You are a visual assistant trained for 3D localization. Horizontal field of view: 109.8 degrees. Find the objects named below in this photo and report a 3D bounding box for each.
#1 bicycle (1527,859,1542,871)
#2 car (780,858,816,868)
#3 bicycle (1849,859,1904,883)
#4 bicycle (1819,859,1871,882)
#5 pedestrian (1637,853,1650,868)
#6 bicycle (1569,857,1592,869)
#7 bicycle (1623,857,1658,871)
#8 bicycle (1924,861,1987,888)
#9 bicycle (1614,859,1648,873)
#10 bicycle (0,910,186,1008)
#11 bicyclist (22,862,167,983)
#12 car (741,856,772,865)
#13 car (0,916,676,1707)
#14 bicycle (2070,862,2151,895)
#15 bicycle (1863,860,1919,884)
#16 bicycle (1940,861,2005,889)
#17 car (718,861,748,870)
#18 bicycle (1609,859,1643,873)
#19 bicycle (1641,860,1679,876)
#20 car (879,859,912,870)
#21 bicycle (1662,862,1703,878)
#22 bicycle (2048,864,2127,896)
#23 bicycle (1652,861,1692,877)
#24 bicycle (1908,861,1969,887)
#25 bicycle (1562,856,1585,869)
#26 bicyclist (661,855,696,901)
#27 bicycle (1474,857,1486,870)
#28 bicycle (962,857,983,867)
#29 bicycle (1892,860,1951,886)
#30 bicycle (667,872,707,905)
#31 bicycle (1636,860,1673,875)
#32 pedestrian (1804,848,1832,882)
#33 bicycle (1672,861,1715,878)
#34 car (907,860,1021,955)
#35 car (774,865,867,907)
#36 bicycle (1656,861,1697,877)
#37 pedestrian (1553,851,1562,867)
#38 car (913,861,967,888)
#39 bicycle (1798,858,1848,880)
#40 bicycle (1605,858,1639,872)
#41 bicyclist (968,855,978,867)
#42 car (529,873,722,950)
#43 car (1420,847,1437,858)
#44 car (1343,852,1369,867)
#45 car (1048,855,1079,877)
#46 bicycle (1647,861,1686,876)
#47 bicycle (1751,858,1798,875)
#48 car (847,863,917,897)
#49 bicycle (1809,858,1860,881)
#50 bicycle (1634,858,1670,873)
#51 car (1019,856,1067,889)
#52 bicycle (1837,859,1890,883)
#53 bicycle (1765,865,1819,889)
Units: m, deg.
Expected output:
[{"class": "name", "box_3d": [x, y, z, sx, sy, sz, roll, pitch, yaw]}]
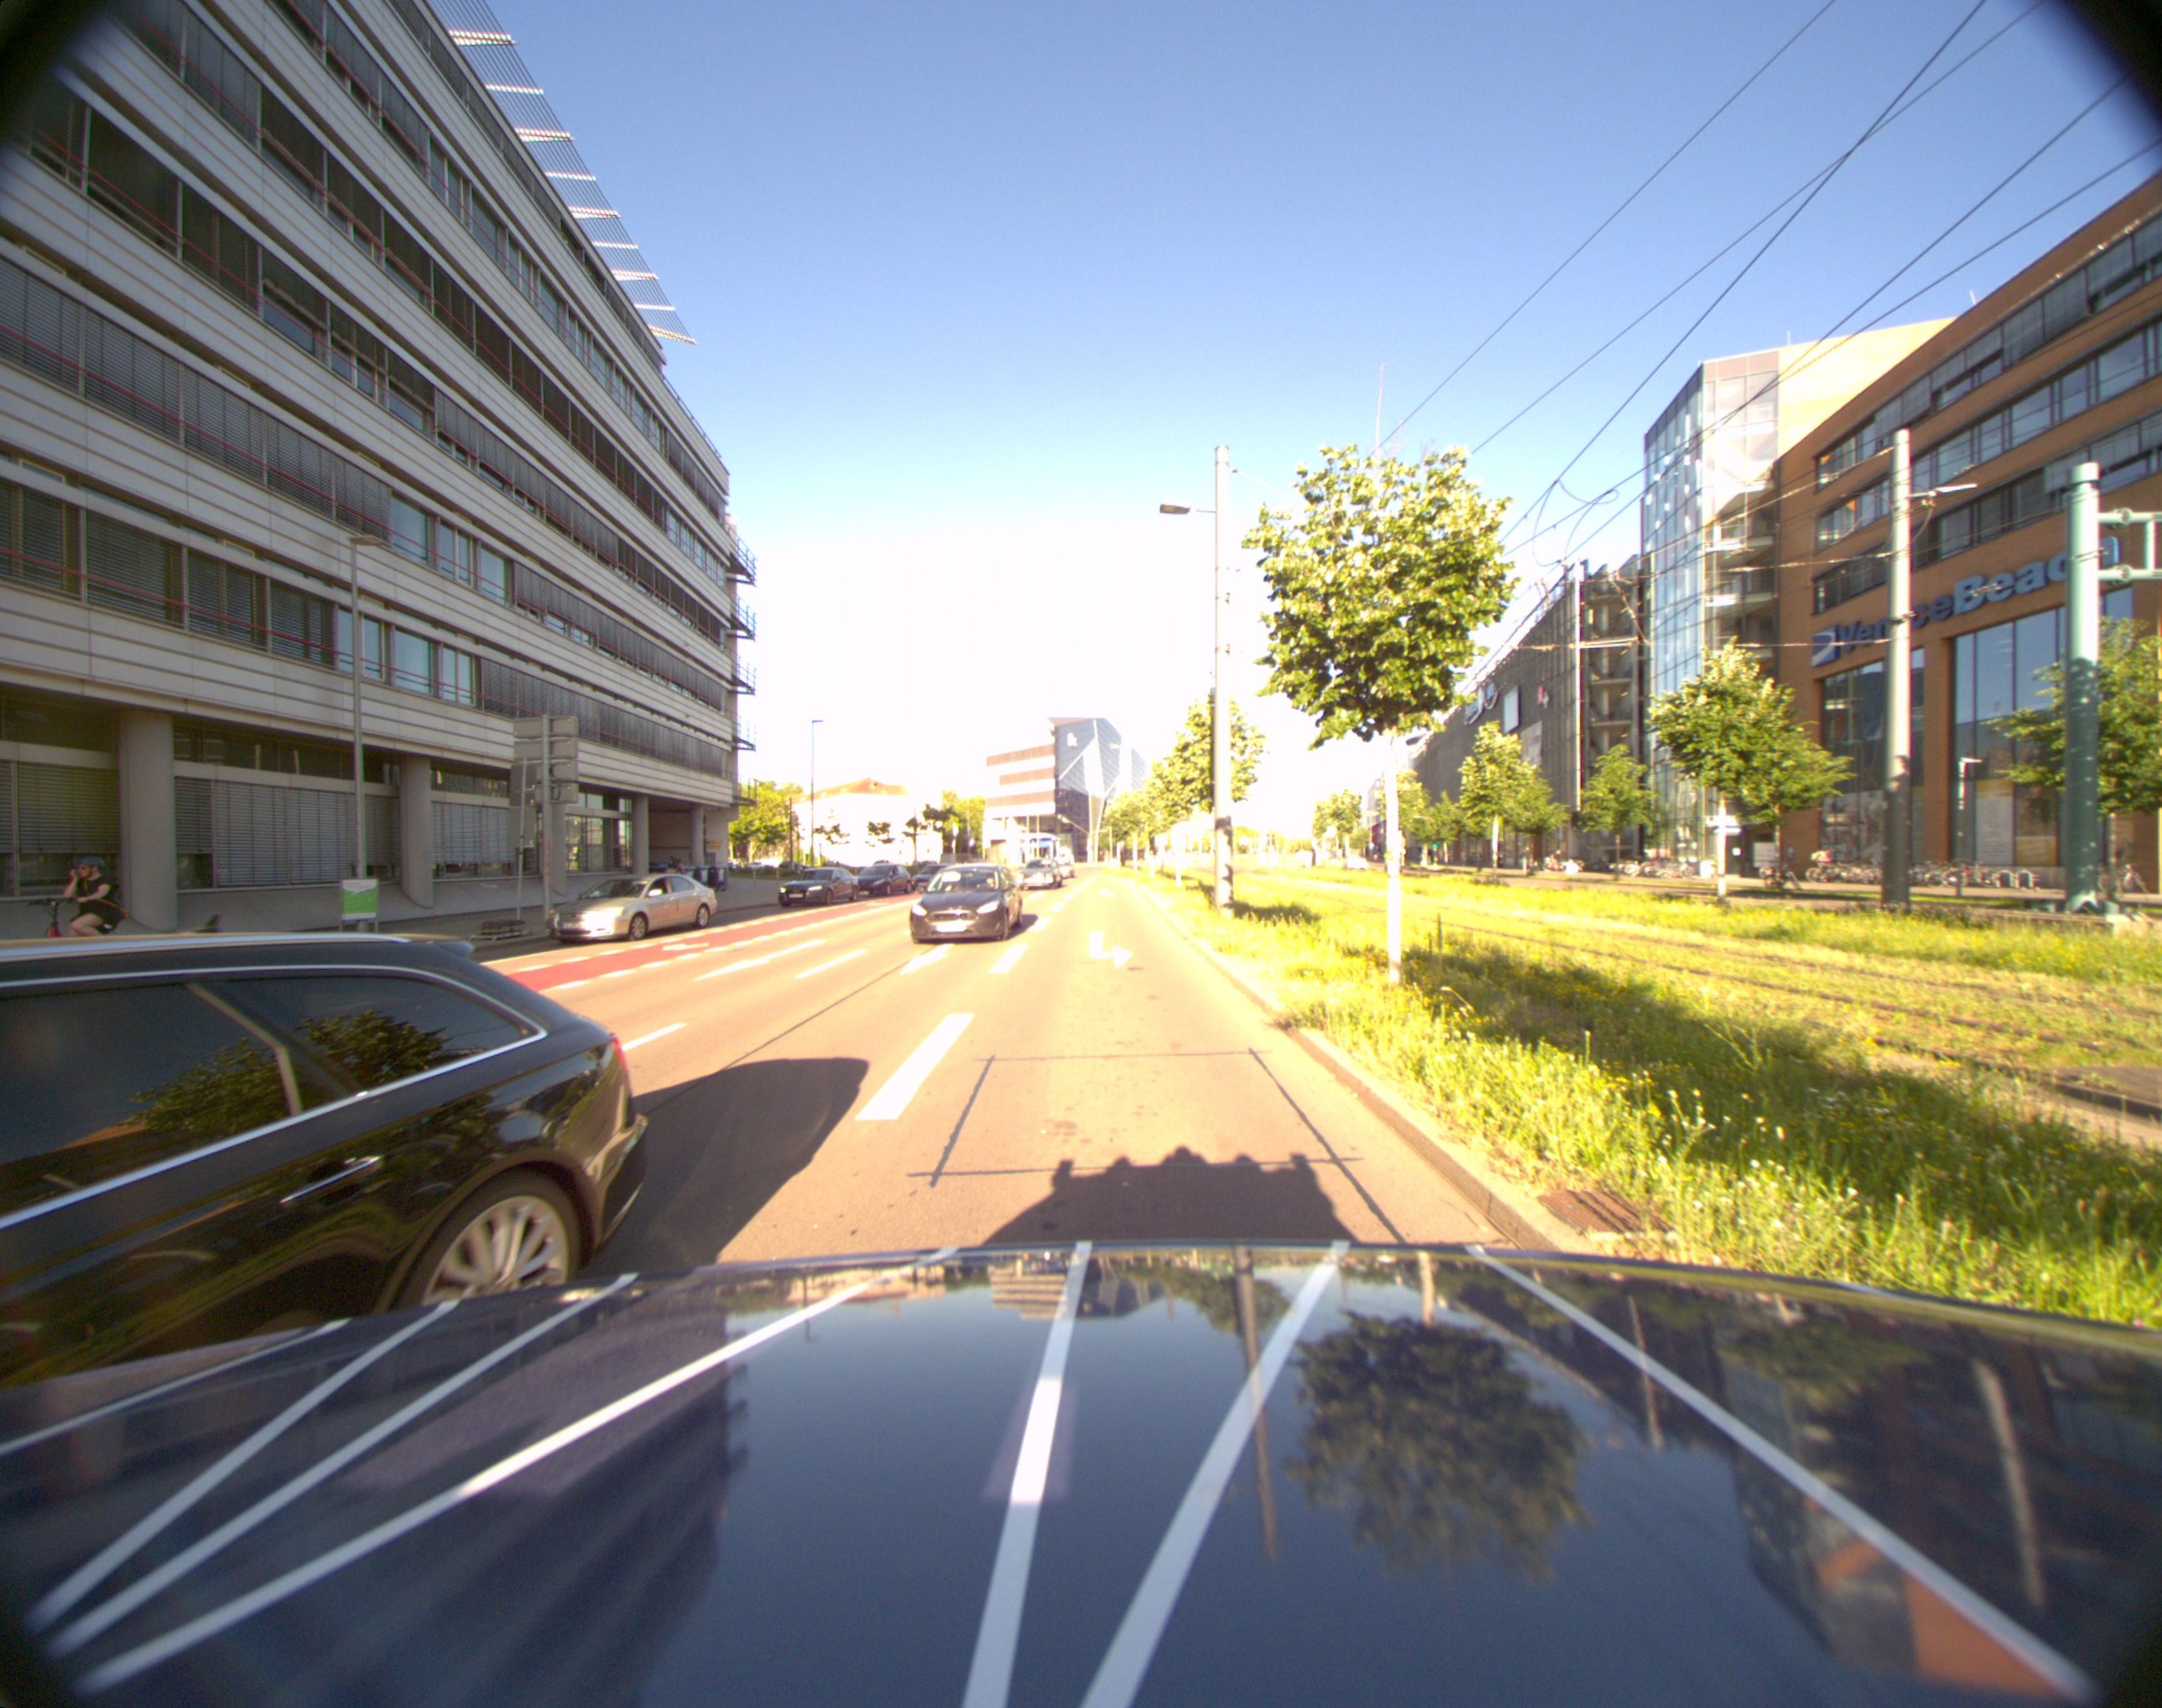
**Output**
[{"class": "bicycle", "box_3d": [32.367, 0.786, 54.202, 0.386, 0.863, 1.773, -1, 0, 13]}, {"class": "car", "box_3d": [-40.439, 1.305, 108.508, 4.516, 1.414, 2.003, -1, 1, 18]}, {"class": "bicycle", "box_3d": [35.484, 0.772, 33.904, 1.769, 1.043, 0.491, -1, 1, 8]}, {"class": "bicycle", "box_3d": [35.642, 0.754, 35.452, 1.769, 1.043, 0.491, -1, 1, 8]}, {"class": "pedestrian", "box_3d": [40.442, 0.486, 54.668, 0.629, 1.048, 0.450, -1, 1, 13]}, {"class": "bicycle", "box_3d": [37.127, 0.669, 56.489, 1.398, 0.921, 0.462, -1, 1, 17]}, {"class": "bicycle", "box_3d": [36.047, 0.656, 48.979, 1.768, 0.921, 0.491, -1, 1, 17]}, {"class": "bicycle", "box_3d": [35.055, 0.813, 30.479, 1.769, 1.043, 0.491, -1, 1, 8]}, {"class": "bicycle", "box_3d": [36.292, 0.789, 50.166, 1.768, 0.921, 0.565, -1, 1, 17]}, {"class": "bicycle", "box_3d": [-13.865, 1.404, 10.425, 0.500, 1.026, 2.206, 5, 1, 0]}, {"class": "bicyclist", "box_3d": [-13.856, 0.930, 10.709, 0.626, 1.558, 1.043, 5, 1, 0]}, {"class": "car", "box_3d": [-47.589, 0.995, 111.473, 3.990, 1.237, 2.003, -1, 1, 26]}, {"class": "car", "box_3d": [-2.564, 0.988, 0.575, 1.815, 1.483, 4.497, 0, 0, 5]}, {"class": "bicycle", "box_3d": [33.919, 0.797, 25.044, 1.769, 1.043, 0.491, -1, 1, 8]}, {"class": "bicycle", "box_3d": [35.347, 0.782, 33.180, 1.769, 1.043, 0.491, -1, 1, 8]}, {"class": "bicycle", "box_3d": [34.980, 0.821, 29.819, 1.769, 1.043, 0.491, -1, 1, 8]}, {"class": "car", "box_3d": [-52.271, 1.736, 114.064, 3.990, 1.368, 1.938, -1, 1, 26]}, {"class": "bicycle", "box_3d": [36.457, 0.778, 50.856, 1.768, 0.921, 0.491, -1, 1, 17]}, {"class": "bicycle", "box_3d": [35.252, 0.856, 46.298, 1.768, 0.921, 0.565, -1, 1, 17]}, {"class": "car", "box_3d": [-25.304, 1.447, 103.621, 3.991, 1.414, 2.003, -1, 1, 20]}, {"class": "bicycle", "box_3d": [34.364, 0.909, 43.434, 1.768, 0.921, 0.565, -1, 1, 17]}, {"class": "bicycle", "box_3d": [33.987, 0.887, 25.676, 1.769, 1.043, 0.491, -1, 1, 8]}, {"class": "bicycle", "box_3d": [34.925, 0.877, 44.929, 1.768, 0.921, 0.565, -1, 1, 17]}, {"class": "bicycle", "box_3d": [35.178, 0.803, 31.168, 1.769, 1.043, 0.491, -1, 1, 8]}, {"class": "bicycle", "box_3d": [37.543, 0.644, 57.884, 1.398, 0.921, 0.462, -1, 1, 17]}, {"class": "bicyclist", "box_3d": [-14.465, 0.852, 27.352, 0.685, 1.609, 0.991, -1, 1, 2]}, {"class": "bicycle", "box_3d": [31.263, 0.738, 59.477, 0.386, 0.918, 1.773, -1, 0, 13]}, {"class": "bicycle", "box_3d": [-13.804, 1.036, 96.861, 2.368, 1.304, 0.952, -1, 1, 13]}, {"class": "bicycle", "box_3d": [35.245, 0.796, 31.871, 1.769, 1.043, 0.491, -1, 1, 8]}, {"class": "bicycle", "box_3d": [-14.287, 1.234, 27.610, 0.505, 1.052, 1.702, 1, 1, 2]}, {"class": "bicycle", "box_3d": [35.450, 0.843, 46.980, 1.768, 0.921, 0.565, -1, 1, 17]}, {"class": "pedestrian", "box_3d": [36.088, 0.525, 37.210, 0.746, 1.659, 0.676, -1, 1, 7]}, {"class": "bicycle", "box_3d": [34.157, 0.864, 42.378, 1.768, 0.921, 0.565, -1, 1, 17]}, {"class": "car", "box_3d": [-2.215, 0.963, 15.438, 1.690, 1.425, 4.151, -3, 2, -1]}, {"class": "car", "box_3d": [-9.777, 1.155, 28.866, 1.713, 1.432, 4.114, -2, -1, 6]}, {"class": "bicycle", "box_3d": [34.656, 0.892, 44.225, 1.768, 0.921, 0.565, -1, 1, 17]}, {"class": "pedestrian", "box_3d": [38.067, 0.422, 60.713, 0.448, 1.282, 0.630, -1, 1, 13]}, {"class": "car", "box_3d": [-7.761, 1.115, 42.268, 1.437, 1.437, 4.005, 1, -1, 13]}, {"class": "bicycle", "box_3d": [35.814, 0.739, 36.696, 1.769, 1.043, 0.491, -1, 1, 8]}, {"class": "bicycle", "box_3d": [36.600, 0.736, 51.424, 1.768, 0.921, 0.491, -1, 1, 17]}, {"class": "bicyclist", "box_3d": [-13.819, 0.878, 96.877, 1.006, 1.598, 0.880, -1, 1, 13]}, {"class": "car", "box_3d": [-10.446, 1.247, 17.908, 1.755, 1.423, 4.488, -1, 0, 1]}, {"class": "car", "box_3d": [53.628, -0.235, 117.231, 1.582, 1.521, 3.754, -2, 1, 12]}, {"class": "car", "box_3d": [25.552, 0.508, 70.688, 1.809, 1.320, 4.409, 0, 1, 13]}, {"class": "car", "box_3d": [-1.213, 0.862, 54.268, 1.619, 1.421, 3.769, -2, 1, 7]}, {"class": "bicycle", "box_3d": [35.100, 0.866, 45.598, 1.768, 0.921, 0.565, -1, 1, 17]}, {"class": "bicycle", "box_3d": [37.170, 0.677, 40.740, 1.768, 0.921, 0.565, -1, 1, 17]}, {"class": "car", "box_3d": [-9.253, 1.172, 35.668, 1.734, 1.437, 4.003, -1, 0, 8]}, {"class": "bicycle", "box_3d": [35.725, 0.747, 36.019, 1.769, 1.043, 0.491, -1, 1, 8]}, {"class": "bicycle", "box_3d": [35.746, 0.732, 47.578, 1.768, 0.921, 0.491, -1, 1, 17]}, {"class": "car", "box_3d": [-1.838, 0.893, 37.718, 1.748, 1.496, 3.882, -1, 0, 7]}, {"class": "bicycle", "box_3d": [35.546, 0.765, 34.535, 1.769, 1.043, 0.491, -1, 1, 8]}, {"class": "bicycle", "box_3d": [27.850, 0.894, 29.784, 0.464, 0.863, 1.771, -1, 0, 1]}]
